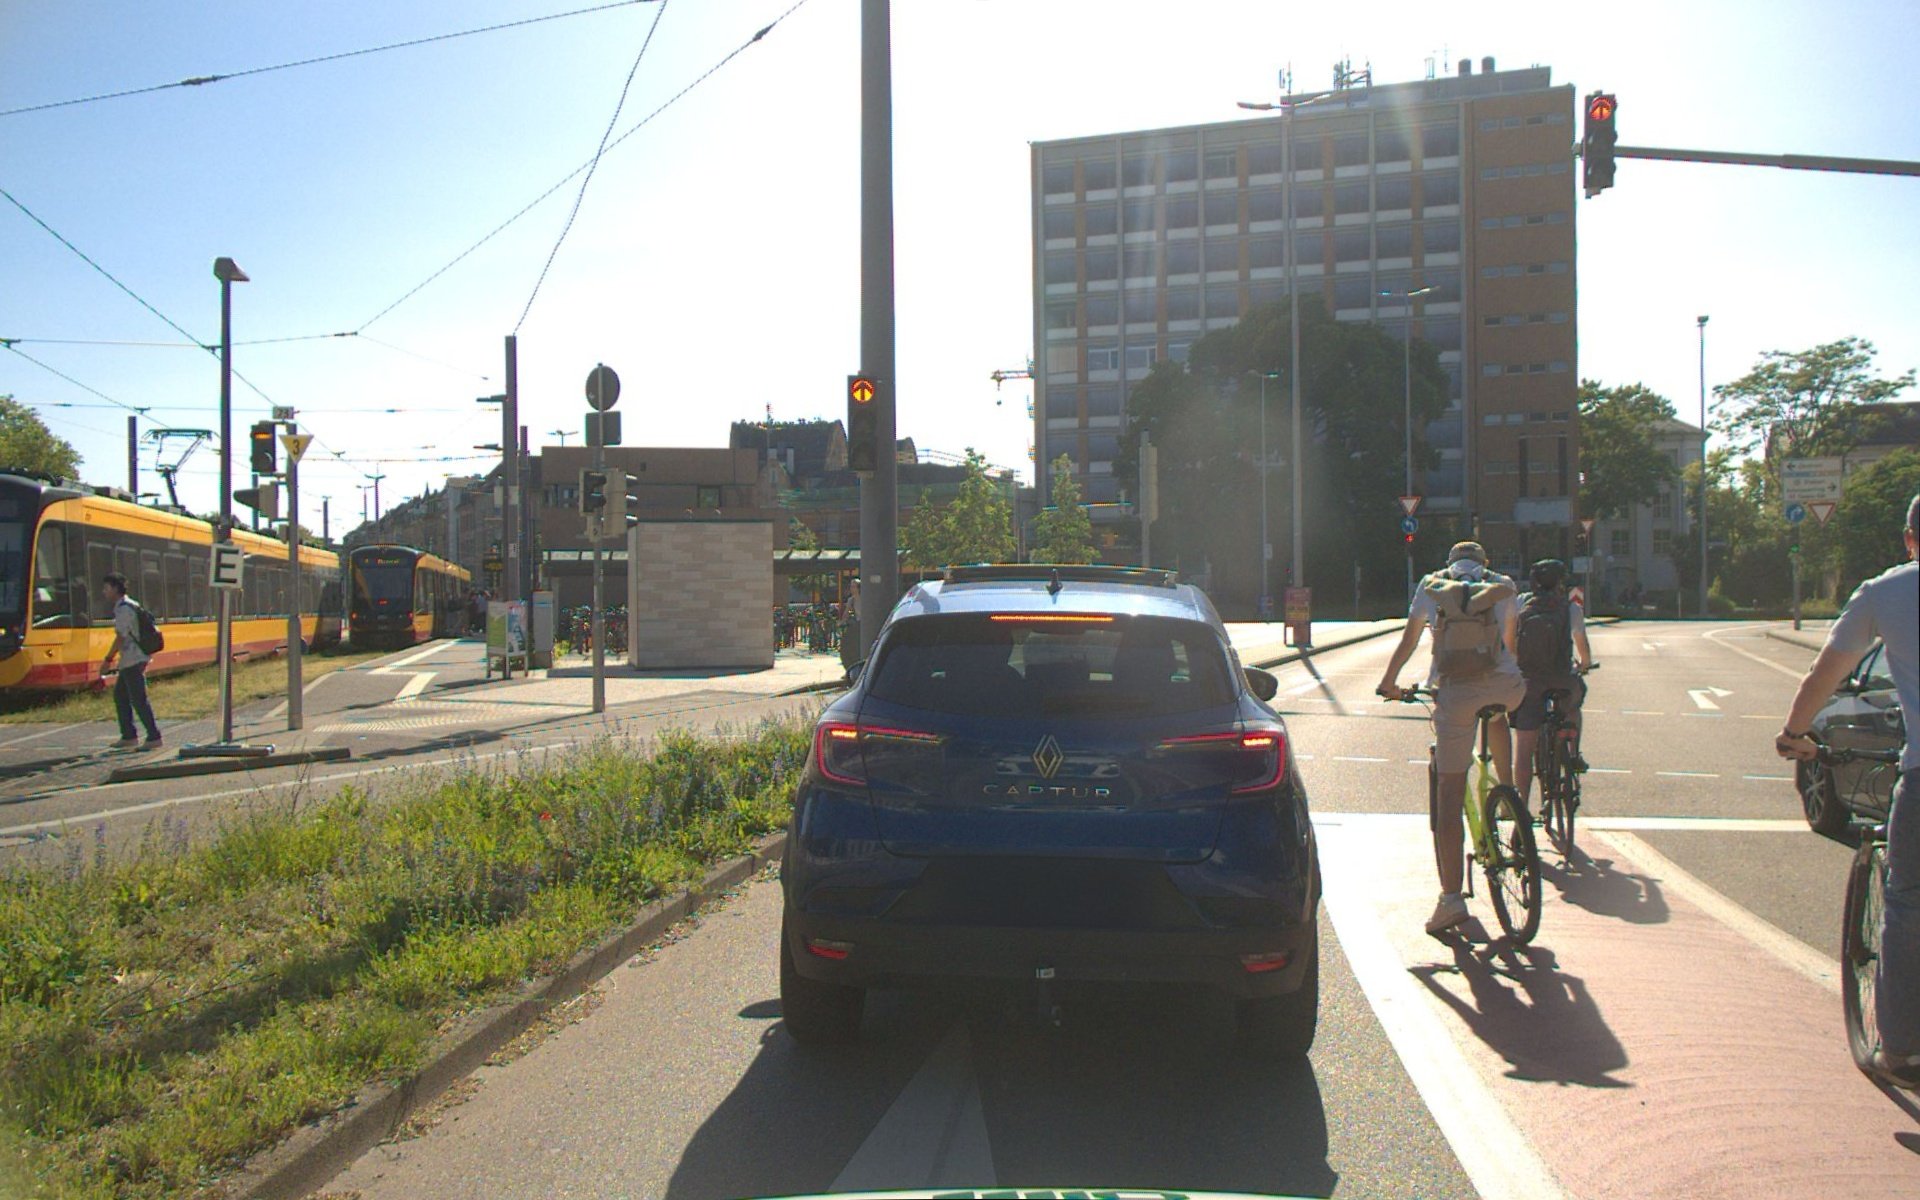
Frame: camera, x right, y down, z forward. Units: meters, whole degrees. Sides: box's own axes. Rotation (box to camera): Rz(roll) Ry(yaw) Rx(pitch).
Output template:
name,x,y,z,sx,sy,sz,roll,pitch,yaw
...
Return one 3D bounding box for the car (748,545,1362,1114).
name,x,y,z,sx,sy,sz,roll,pitch,yaw
car,0.422,0.657,6.683,1.785,1.628,3.661,1,0,5

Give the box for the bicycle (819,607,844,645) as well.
name,x,y,z,sx,sy,sz,roll,pitch,yaw
bicycle,-3.784,0.773,48.698,0.570,1.107,2.054,1,-1,-9

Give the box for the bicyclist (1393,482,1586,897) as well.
name,x,y,z,sx,sy,sz,roll,pitch,yaw
bicyclist,2.405,0.382,7.613,0.649,1.778,1.006,0,0,6

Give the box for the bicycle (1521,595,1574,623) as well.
name,x,y,z,sx,sy,sz,roll,pitch,yaw
bicycle,33.284,0.504,93.772,2.742,1.568,0.885,0,-1,13

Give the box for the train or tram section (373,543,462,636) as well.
name,x,y,z,sx,sy,sz,roll,pitch,yaw
train or tram section,-22.466,-0.386,68.992,2.823,3.569,10.502,0,0,-14

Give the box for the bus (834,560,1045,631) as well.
name,x,y,z,sx,sy,sz,roll,pitch,yaw
bus,-1.248,-0.154,86.788,12.212,3.455,2.868,-1,-2,40

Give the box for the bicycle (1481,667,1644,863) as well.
name,x,y,z,sx,sy,sz,roll,pitch,yaw
bicycle,3.640,0.951,10.123,0.707,0.976,1.885,1,0,13

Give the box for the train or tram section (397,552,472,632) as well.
name,x,y,z,sx,sy,sz,roll,pitch,yaw
train or tram section,-25.030,-0.365,79.213,2.823,3.569,10.502,0,0,-14

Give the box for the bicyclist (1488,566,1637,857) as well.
name,x,y,z,sx,sy,sz,roll,pitch,yaw
bicyclist,3.622,0.629,10.017,0.706,1.654,1.056,1,0,13

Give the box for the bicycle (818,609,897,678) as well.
name,x,y,z,sx,sy,sz,roll,pitch,yaw
bicycle,-1.710,0.714,28.013,0.756,1.099,2.037,-1,-1,13

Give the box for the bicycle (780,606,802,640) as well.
name,x,y,z,sx,sy,sz,roll,pitch,yaw
bicycle,-5.741,0.780,56.071,0.570,1.107,1.866,1,-1,-11

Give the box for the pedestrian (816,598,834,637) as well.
name,x,y,z,sx,sy,sz,roll,pitch,yaw
pedestrian,-6.518,0.836,79.823,0.710,1.889,0.703,0,-1,8

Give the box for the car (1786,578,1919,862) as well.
name,x,y,z,sx,sy,sz,roll,pitch,yaw
car,6.218,0.663,9.389,1.718,1.568,3.662,0,0,9

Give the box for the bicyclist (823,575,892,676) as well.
name,x,y,z,sx,sy,sz,roll,pitch,yaw
bicyclist,-1.726,0.428,28.046,0.861,1.673,1.061,-1,-1,13

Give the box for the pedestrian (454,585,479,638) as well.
name,x,y,z,sx,sy,sz,roll,pitch,yaw
pedestrian,-18.271,0.427,61.276,0.833,1.916,0.757,1,-1,-16

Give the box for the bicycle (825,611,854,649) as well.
name,x,y,z,sx,sy,sz,roll,pitch,yaw
bicycle,-3.135,0.784,43.065,0.570,0.978,2.054,1,-1,-9

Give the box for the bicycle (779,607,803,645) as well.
name,x,y,z,sx,sy,sz,roll,pitch,yaw
bicycle,-4.968,0.764,48.609,0.570,1.107,2.054,1,-1,-9

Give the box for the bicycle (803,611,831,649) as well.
name,x,y,z,sx,sy,sz,roll,pitch,yaw
bicycle,-3.735,0.778,42.968,0.570,0.978,2.054,1,-1,-9

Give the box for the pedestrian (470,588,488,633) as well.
name,x,y,z,sx,sy,sz,roll,pitch,yaw
pedestrian,-20.703,0.454,71.183,0.620,1.889,0.701,1,-1,-9

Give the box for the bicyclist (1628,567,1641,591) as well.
name,x,y,z,sx,sy,sz,roll,pitch,yaw
bicyclist,41.771,-1.316,102.437,0.606,1.469,0.818,-1,0,29

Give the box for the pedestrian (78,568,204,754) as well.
name,x,y,z,sx,sy,sz,roll,pitch,yaw
pedestrian,-8.591,0.623,17.391,1.000,1.864,0.757,-2,-1,-16

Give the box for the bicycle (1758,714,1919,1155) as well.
name,x,y,z,sx,sy,sz,roll,pitch,yaw
bicycle,2.950,0.947,4.848,0.598,1.096,1.831,0,0,9

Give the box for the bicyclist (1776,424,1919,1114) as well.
name,x,y,z,sx,sy,sz,roll,pitch,yaw
bicyclist,2.922,0.440,4.783,0.733,1.807,1.015,0,0,9

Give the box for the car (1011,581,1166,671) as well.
name,x,y,z,sx,sy,sz,roll,pitch,yaw
car,2.431,0.431,30.259,1.763,1.417,4.094,-1,2,20

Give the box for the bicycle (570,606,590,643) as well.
name,x,y,z,sx,sy,sz,roll,pitch,yaw
bicycle,-11.950,0.775,52.026,0.556,1.112,2.023,1,-1,-11

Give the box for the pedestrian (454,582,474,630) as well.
name,x,y,z,sx,sy,sz,roll,pitch,yaw
pedestrian,-19.547,0.247,65.169,0.661,1.889,0.701,1,-1,-9

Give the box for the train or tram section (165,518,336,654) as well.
name,x,y,z,sx,sy,sz,roll,pitch,yaw
train or tram section,-20.726,-0.353,48.989,2.768,3.569,11.170,0,0,-14

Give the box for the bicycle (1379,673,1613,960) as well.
name,x,y,z,sx,sy,sz,roll,pitch,yaw
bicycle,2.409,0.916,7.645,0.648,1.065,1.891,0,0,6

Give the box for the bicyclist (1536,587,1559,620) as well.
name,x,y,z,sx,sy,sz,roll,pitch,yaw
bicyclist,33.289,0.193,93.771,1.132,1.829,0.885,0,-1,13

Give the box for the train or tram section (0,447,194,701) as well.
name,x,y,z,sx,sy,sz,roll,pitch,yaw
train or tram section,-15.575,-0.343,28.136,2.771,3.569,10.437,-1,0,-15

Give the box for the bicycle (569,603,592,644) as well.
name,x,y,z,sx,sy,sz,roll,pitch,yaw
bicycle,-10.486,0.663,45.741,0.556,1.112,2.023,1,-1,-11

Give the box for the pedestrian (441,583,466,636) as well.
name,x,y,z,sx,sy,sz,roll,pitch,yaw
pedestrian,-18.340,0.342,59.942,0.833,1.916,0.757,1,-1,-16

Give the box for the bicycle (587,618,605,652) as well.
name,x,y,z,sx,sy,sz,roll,pitch,yaw
bicycle,-10.445,0.999,47.458,0.415,0.954,1.300,1,0,-15

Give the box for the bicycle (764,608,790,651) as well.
name,x,y,z,sx,sy,sz,roll,pitch,yaw
bicycle,-4.729,0.765,42.578,0.570,1.076,1.812,1,-1,-9

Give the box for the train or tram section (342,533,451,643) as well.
name,x,y,z,sx,sy,sz,roll,pitch,yaw
train or tram section,-19.870,-0.379,58.830,2.823,3.569,10.502,0,0,-14

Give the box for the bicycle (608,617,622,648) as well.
name,x,y,z,sx,sy,sz,roll,pitch,yaw
bicycle,-10.950,1.015,52.473,0.414,0.954,1.375,1,0,-12

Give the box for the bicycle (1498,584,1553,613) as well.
name,x,y,z,sx,sy,sz,roll,pitch,yaw
bicycle,30.727,-0.068,89.845,2.746,1.568,0.883,0,-1,25

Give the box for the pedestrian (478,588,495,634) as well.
name,x,y,z,sx,sy,sz,roll,pitch,yaw
pedestrian,-19.765,0.468,68.995,0.623,1.889,0.699,1,-1,-20

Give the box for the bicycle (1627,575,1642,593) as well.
name,x,y,z,sx,sy,sz,roll,pitch,yaw
bicycle,41.767,-0.977,102.417,0.597,1.112,1.669,-1,0,29

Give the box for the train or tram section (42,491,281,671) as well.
name,x,y,z,sx,sy,sz,roll,pitch,yaw
train or tram section,-18.152,-0.367,38.419,2.768,3.569,10.573,0,0,-14

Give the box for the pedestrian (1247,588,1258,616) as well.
name,x,y,z,sx,sy,sz,roll,pitch,yaw
pedestrian,17.921,0.117,101.288,0.551,1.699,0.474,-1,-2,36

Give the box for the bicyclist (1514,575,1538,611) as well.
name,x,y,z,sx,sy,sz,roll,pitch,yaw
bicyclist,30.733,-0.398,89.836,1.183,1.930,0.883,0,-1,24

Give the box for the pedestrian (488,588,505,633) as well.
name,x,y,z,sx,sy,sz,roll,pitch,yaw
pedestrian,-19.805,0.451,70.698,0.621,1.889,0.701,1,-1,-11
